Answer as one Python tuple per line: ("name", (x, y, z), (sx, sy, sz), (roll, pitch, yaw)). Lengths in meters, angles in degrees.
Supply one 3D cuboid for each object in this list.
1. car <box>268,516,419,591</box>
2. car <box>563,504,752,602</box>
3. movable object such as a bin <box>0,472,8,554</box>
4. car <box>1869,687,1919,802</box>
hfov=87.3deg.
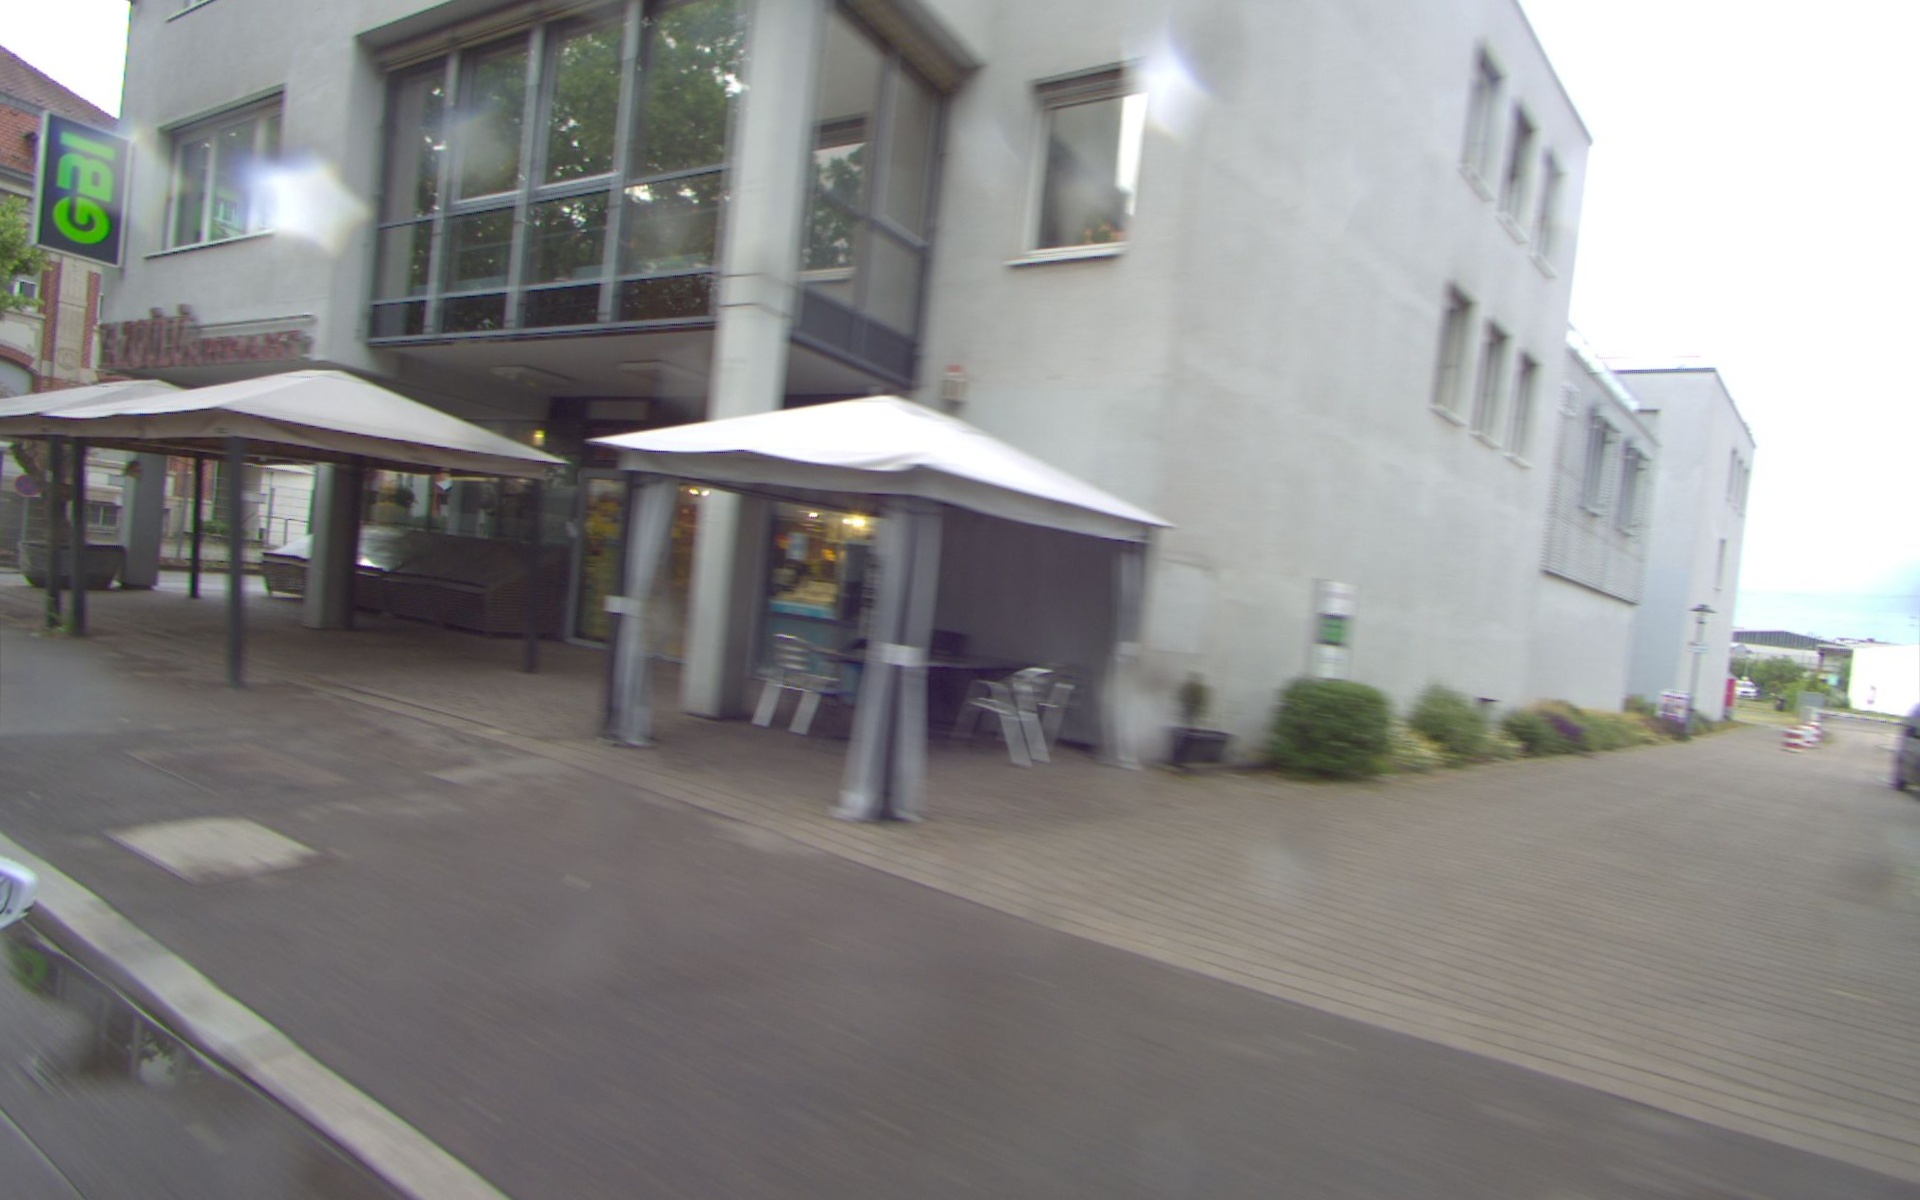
("car", (-16.285, -1.249, 26.518), (4.065, 1.504, 1.665), (7, 0, 32))
("car", (-11.060, -1.684, 37.124), (6.083, 2.732, 2.140), (7, -1, 0))
("movable object such as a bin", (-18.427, -1.669, 18.772), (0.614, 1.528, 0.737), (7, 2, 29))
("car", (17.370, 2.546, 17.057), (1.988, 1.894, 4.306), (6, -1, 32))
